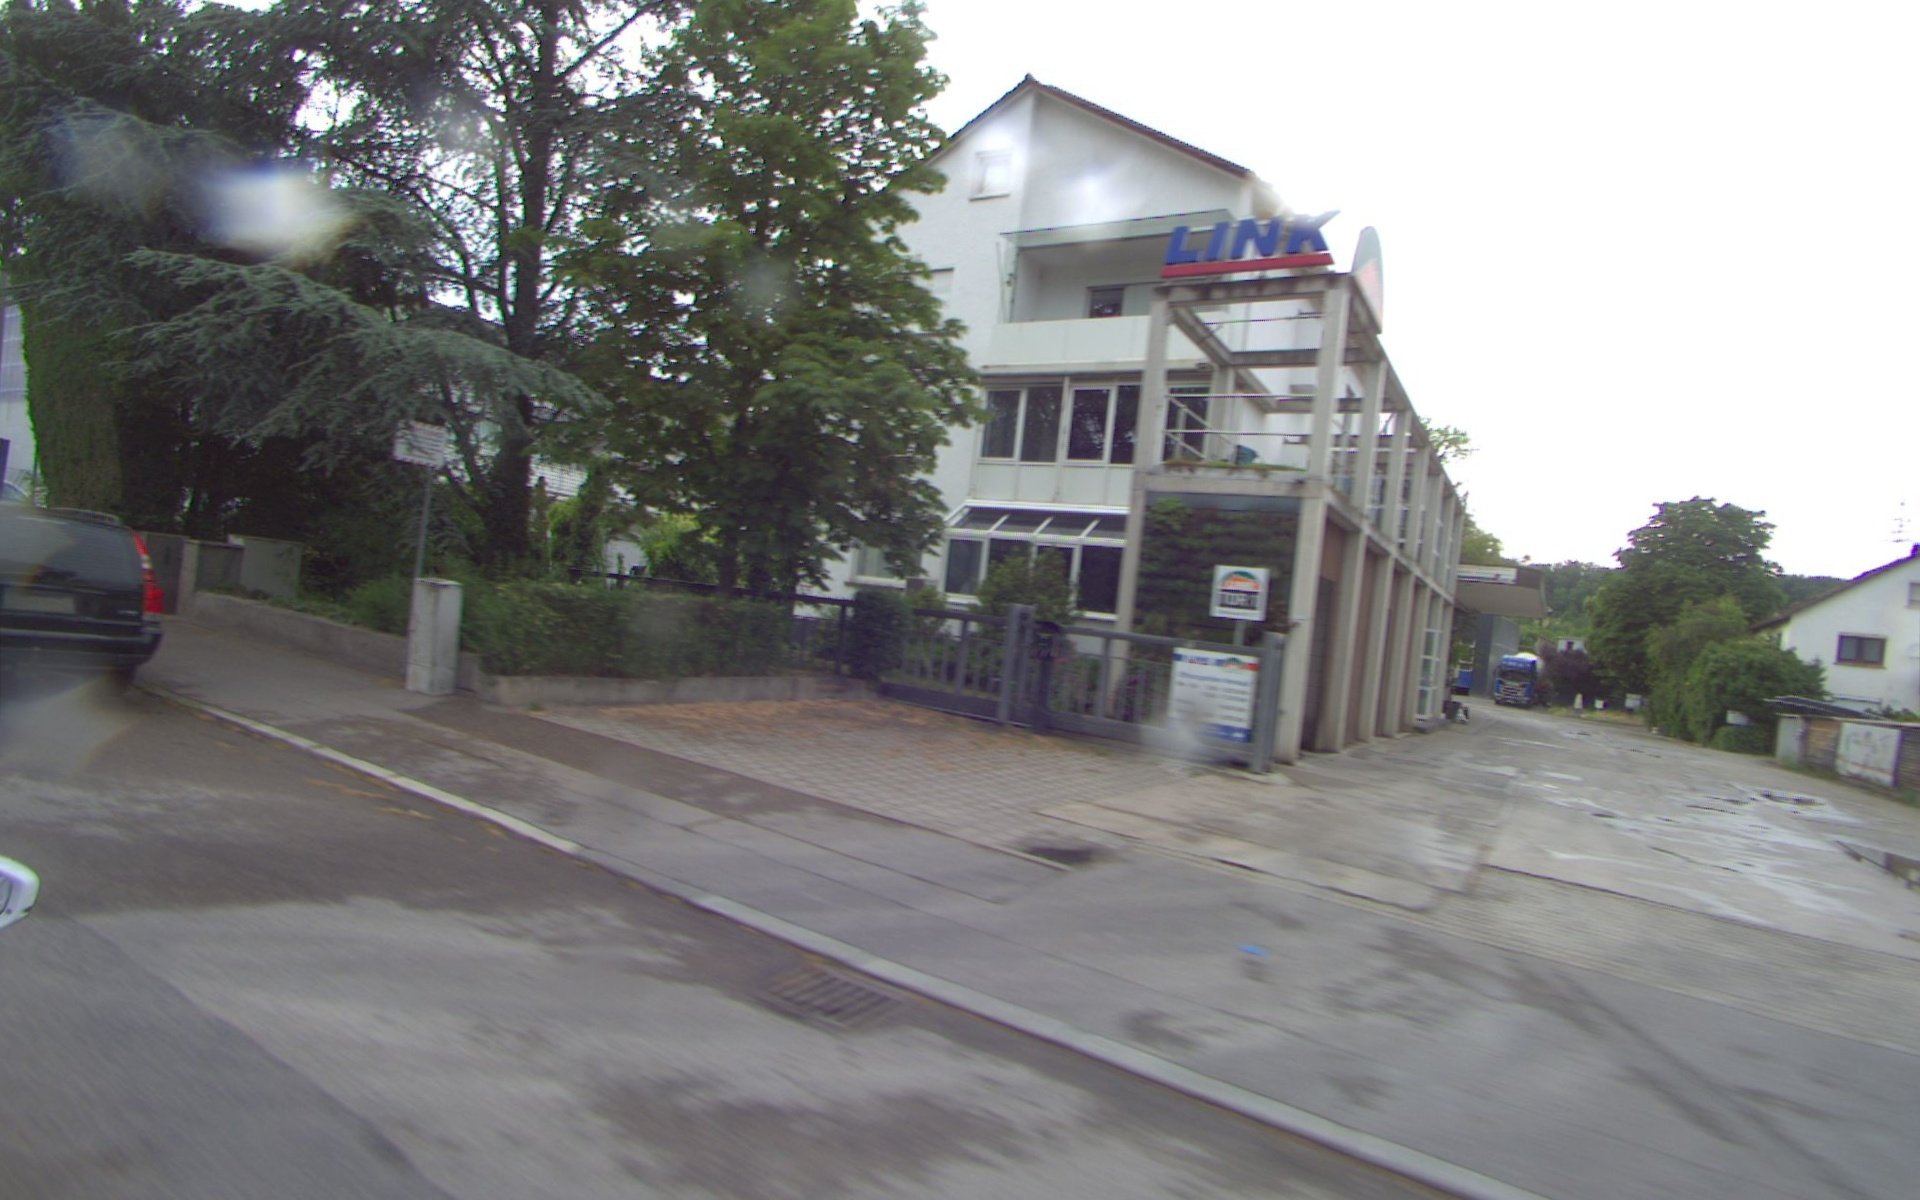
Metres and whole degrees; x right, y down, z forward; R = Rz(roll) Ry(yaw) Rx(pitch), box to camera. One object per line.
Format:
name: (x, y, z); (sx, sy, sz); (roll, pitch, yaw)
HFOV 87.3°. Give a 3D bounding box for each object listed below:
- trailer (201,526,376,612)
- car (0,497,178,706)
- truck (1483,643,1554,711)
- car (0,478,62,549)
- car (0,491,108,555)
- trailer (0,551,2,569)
trailer: (-13.709, -0.641, 20.473); (3.831, 1.290, 1.616); (6, -1, 35)
car: (-8.547, -0.194, 8.427); (4.574, 1.449, 1.742); (6, -2, 35)
truck: (43.172, 6.041, 77.665); (4.097, 4.429, 9.940); (7, -2, 31)
car: (-29.898, -2.858, 29.579); (1.967, 1.908, 4.740); (7, -2, 32)
car: (-27.466, -2.376, 28.879); (1.967, 1.473, 4.111); (7, -2, 32)
trailer: (-13.795, -0.530, 11.801); (6.527, 0.907, 2.177); (7, -2, 33)
